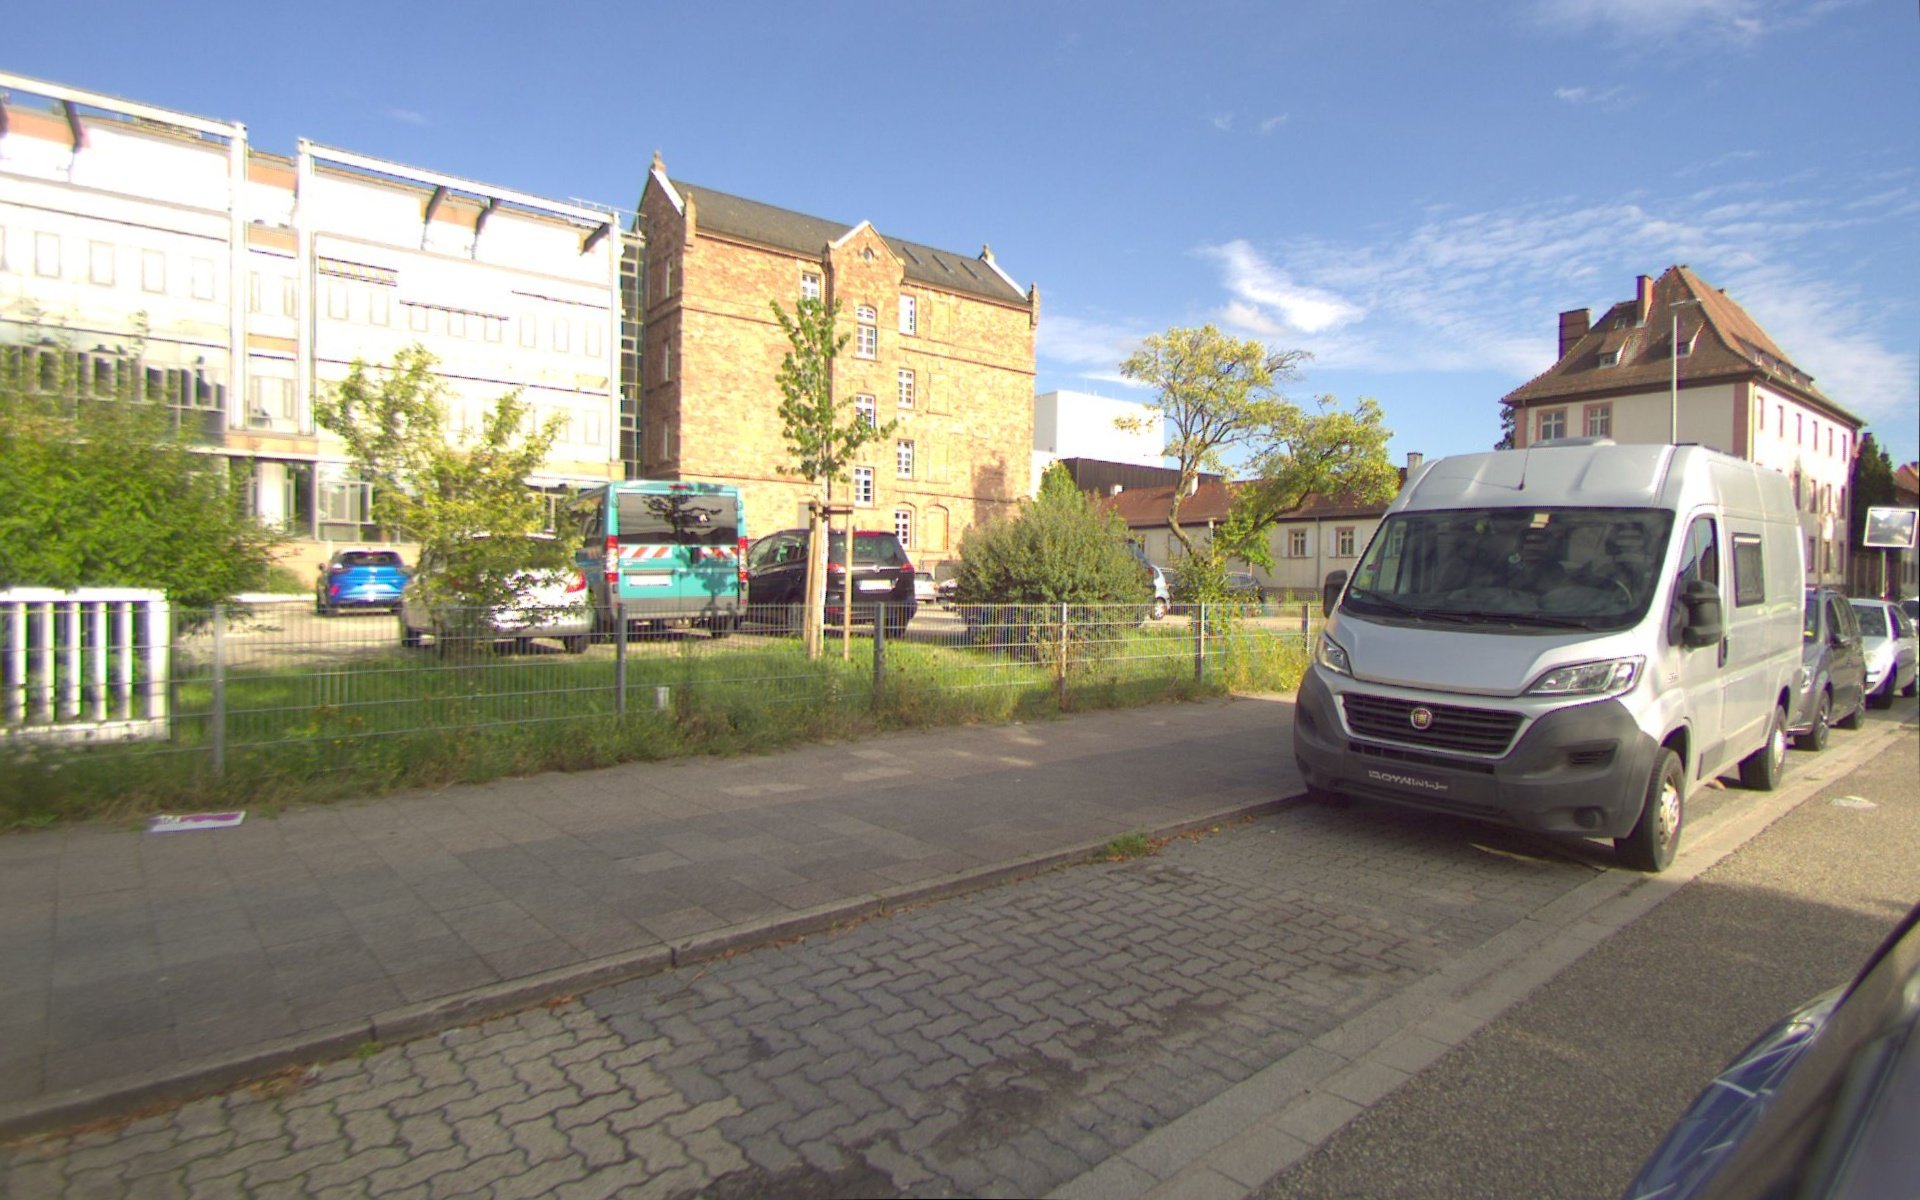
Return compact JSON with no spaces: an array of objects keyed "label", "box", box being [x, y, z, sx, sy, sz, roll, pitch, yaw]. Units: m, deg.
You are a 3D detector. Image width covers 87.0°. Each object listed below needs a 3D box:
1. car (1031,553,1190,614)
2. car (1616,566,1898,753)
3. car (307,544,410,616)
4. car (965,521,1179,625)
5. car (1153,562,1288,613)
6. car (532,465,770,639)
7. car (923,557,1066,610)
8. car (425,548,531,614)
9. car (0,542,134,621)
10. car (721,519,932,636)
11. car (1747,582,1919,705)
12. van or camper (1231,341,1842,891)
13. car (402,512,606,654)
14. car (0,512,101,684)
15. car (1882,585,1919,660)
[{"label":"car","box":[3.971,-0.438,26.395,4.018,1.470,1.888,0,2,-40]},{"label":"car","box":[9.034,0.526,11.346,4.131,1.668,1.677,0,3,-41]},{"label":"car","box":[-13.998,-0.457,23.465,1.834,1.500,4.092,0,1,-34]},{"label":"car","box":[1.915,-0.467,18.358,1.835,1.679,3.800,0,1,-34]},{"label":"car","box":[9.587,-0.463,37.034,4.896,1.740,2.183,0,2,-37]},{"label":"car","box":[-4.827,-0.655,15.364,2.321,2.219,4.283,0,1,-34]},{"label":"car","box":[1.068,-0.494,30.143,4.018,1.470,1.888,0,2,-40]},{"label":"car","box":[-12.251,-0.477,25.583,1.834,1.522,4.092,0,1,-34]},{"label":"car","box":[-18.044,-0.366,20.349,1.834,1.436,4.092,0,1,-34]},{"label":"car","box":[-2.201,-0.339,15.808,1.834,1.584,3.801,0,1,-32]},{"label":"car","box":[13.282,0.542,15.069,3.930,1.503,1.662,0,5,-41]},{"label":"van or camper","box":[4.598,0.008,7.472,5.813,2.557,2.163,0,3,-43]},{"label":"car","box":[-5.959,-0.214,12.948,1.834,1.500,4.093,0,1,-32]},{"label":"car","box":[-10.182,-0.050,10.135,1.834,1.500,4.093,0,1,-32]},{"label":"car","box":[21.103,0.478,21.514,3.929,1.504,1.662,0,3,-40]}]
